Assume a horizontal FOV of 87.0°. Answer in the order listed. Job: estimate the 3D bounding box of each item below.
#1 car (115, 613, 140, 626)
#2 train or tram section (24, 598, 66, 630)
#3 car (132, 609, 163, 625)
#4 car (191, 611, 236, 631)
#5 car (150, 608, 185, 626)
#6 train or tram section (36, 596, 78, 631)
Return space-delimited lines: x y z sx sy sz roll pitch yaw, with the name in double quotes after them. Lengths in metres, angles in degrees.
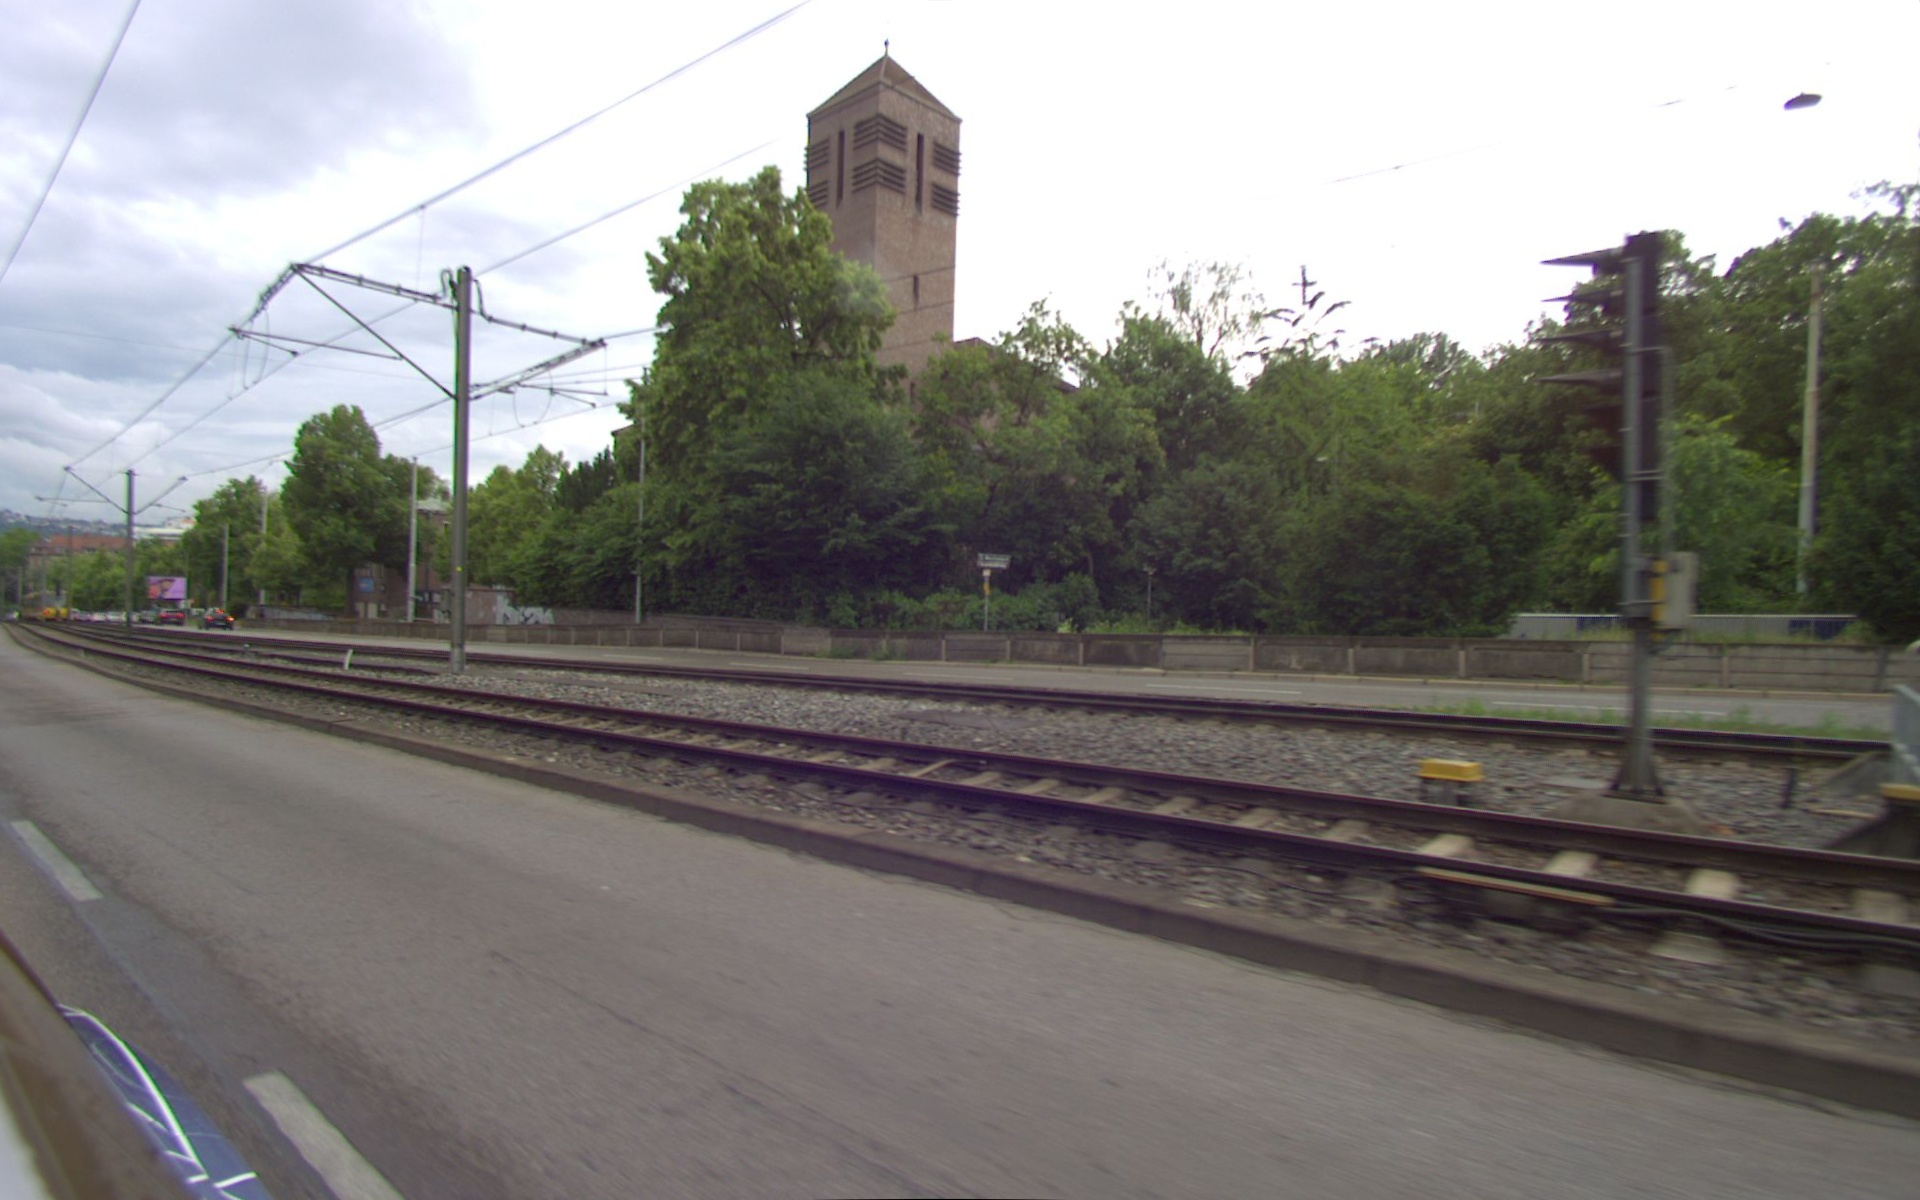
-98.650 2.278 119.857 3.986 1.479 1.727 -1 -4 44 "car"
-122.003 1.897 134.807 20.034 4.006 2.796 -1 -1 44 "train or tram section"
-86.253 1.765 107.425 4.413 1.656 1.971 -1 -3 44 "car"
-56.611 1.613 76.704 4.321 1.452 1.944 0 -2 42 "car"
-74.943 1.575 95.672 4.525 1.656 1.971 -1 -3 44 "car"
-108.730 1.630 121.704 2.796 4.006 17.886 1 -1 -45 "train or tram section"
